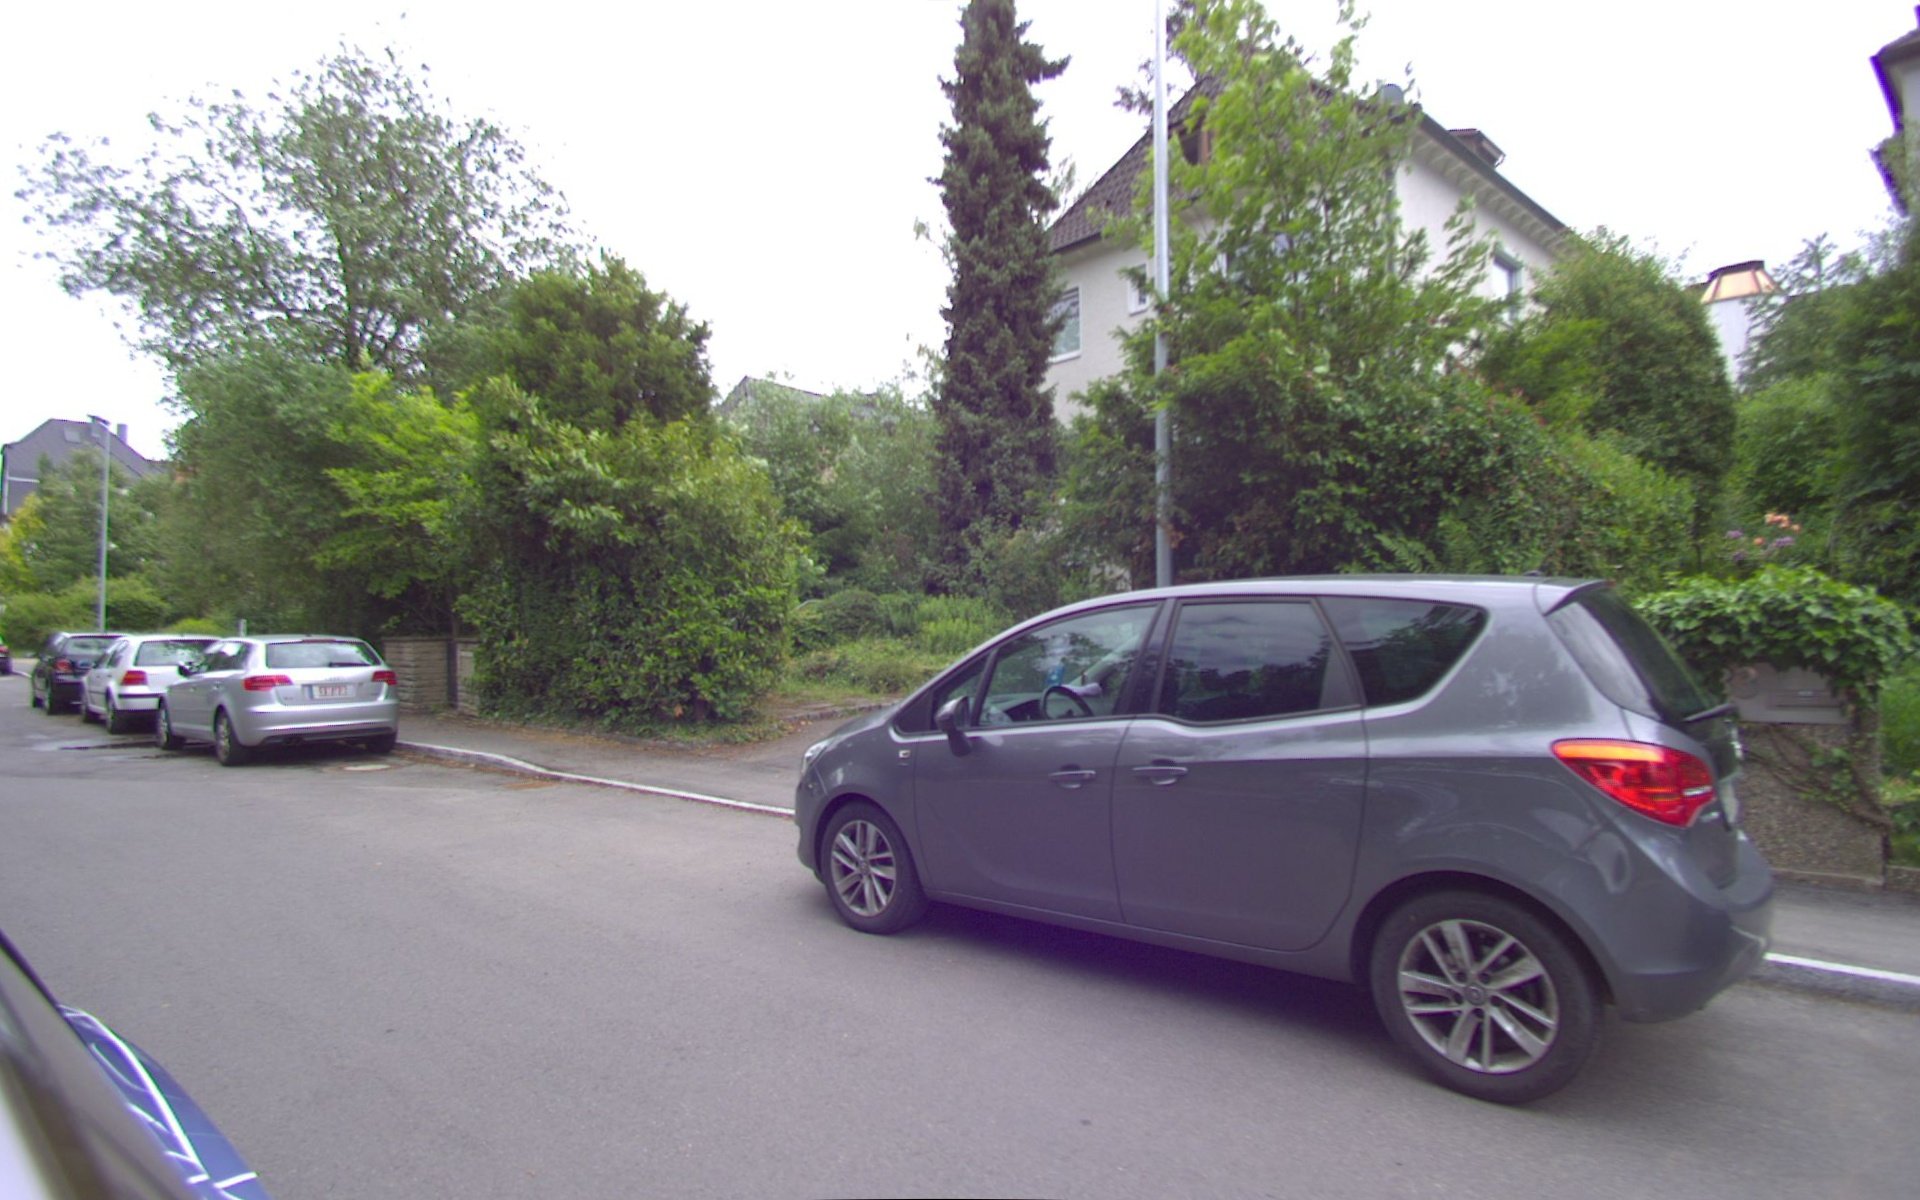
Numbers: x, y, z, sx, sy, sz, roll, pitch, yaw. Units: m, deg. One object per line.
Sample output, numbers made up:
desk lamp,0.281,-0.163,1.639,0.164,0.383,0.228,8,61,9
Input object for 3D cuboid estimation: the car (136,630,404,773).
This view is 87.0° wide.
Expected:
car,-8.469,1.106,12.293,4.090,1.461,1.606,-2,-3,40

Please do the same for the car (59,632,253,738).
car,-12.860,1.266,16.095,4.379,1.464,1.642,-2,-3,41

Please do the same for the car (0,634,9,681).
car,-31.888,1.816,32.181,5.100,1.443,1.760,-2,-2,39

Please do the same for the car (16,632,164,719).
car,-16.484,1.354,19.113,3.968,1.461,1.605,-2,-3,42

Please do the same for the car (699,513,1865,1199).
car,0.915,0.669,4.532,4.565,1.645,1.713,-2,-1,40
